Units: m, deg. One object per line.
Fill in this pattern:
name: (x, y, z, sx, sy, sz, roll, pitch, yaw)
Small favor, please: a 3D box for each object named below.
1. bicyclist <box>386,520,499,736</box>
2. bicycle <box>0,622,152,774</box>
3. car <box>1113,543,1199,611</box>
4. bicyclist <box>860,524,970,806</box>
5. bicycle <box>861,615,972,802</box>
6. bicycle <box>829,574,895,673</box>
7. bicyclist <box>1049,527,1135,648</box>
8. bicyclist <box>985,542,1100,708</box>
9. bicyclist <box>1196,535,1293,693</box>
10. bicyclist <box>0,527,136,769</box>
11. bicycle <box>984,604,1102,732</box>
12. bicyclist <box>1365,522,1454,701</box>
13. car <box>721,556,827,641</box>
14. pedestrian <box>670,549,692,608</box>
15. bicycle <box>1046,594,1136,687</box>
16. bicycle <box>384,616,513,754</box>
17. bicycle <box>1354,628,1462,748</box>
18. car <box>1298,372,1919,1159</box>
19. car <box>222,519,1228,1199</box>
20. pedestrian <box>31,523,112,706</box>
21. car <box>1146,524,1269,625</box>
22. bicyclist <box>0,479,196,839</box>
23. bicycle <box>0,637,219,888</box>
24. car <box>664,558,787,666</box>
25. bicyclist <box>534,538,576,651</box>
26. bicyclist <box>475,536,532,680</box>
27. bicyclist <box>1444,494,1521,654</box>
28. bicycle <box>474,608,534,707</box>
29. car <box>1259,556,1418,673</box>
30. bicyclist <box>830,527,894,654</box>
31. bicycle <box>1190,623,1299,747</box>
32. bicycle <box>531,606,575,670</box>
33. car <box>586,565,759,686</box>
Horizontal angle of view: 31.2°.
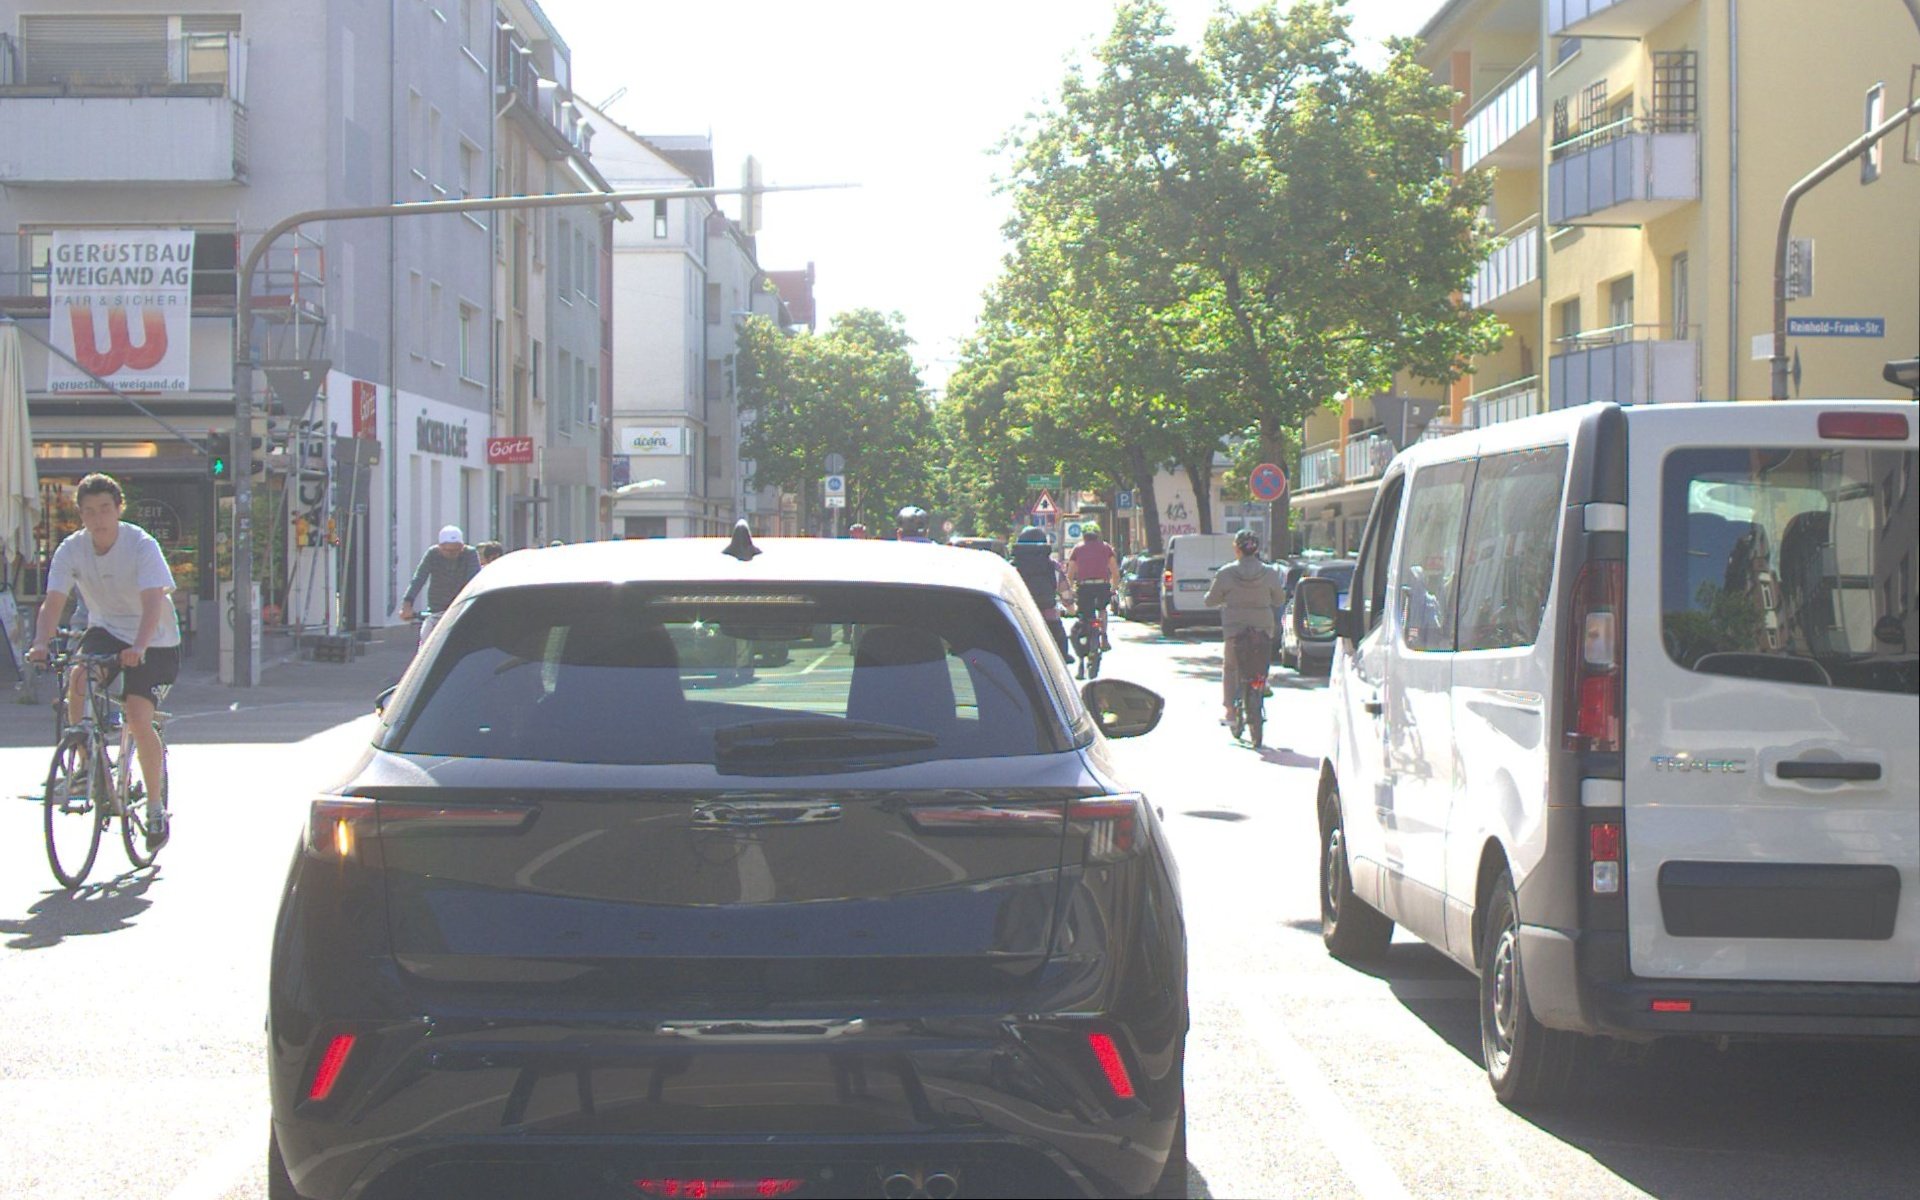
bicyclist: (-3.867, 0.196, 25.748, 0.679, 1.571, 0.899, -1, 1, 0)
bicycle: (-6.131, 0.655, 23.650, 0.679, 0.949, 1.934, -1, 1, 0)
car: (4.358, -0.537, 76.905, 1.712, 1.478, 3.381, 0, 1, 0)
bicyclist: (-0.272, 0.376, 20.828, 0.632, 1.663, 1.050, -1, 1, -1)
bicycle: (-0.264, 0.634, 20.813, 0.632, 1.038, 1.795, -1, 1, -1)
bicycle: (-1.274, 0.295, 45.194, 0.801, 1.251, 2.139, 0, 1, 0)
bicyclist: (1.482, -0.153, 38.745, 0.856, 1.310, 1.210, 2, 1, -1)
bicyclist: (0.675, 0.195, 28.489, 0.856, 1.310, 1.210, 2, 1, -1)
bicyclist: (2.155, 0.098, 26.137, 0.692, 1.189, 0.595, 0, 1, 1)
bicyclist: (-6.148, 0.316, 23.709, 0.679, 1.625, 0.899, -1, 1, 0)
bicycle: (0.669, 0.542, 28.454, 0.856, 0.942, 2.307, 2, 1, -1)
bicyclist: (3.506, 0.083, 26.852, 0.588, 1.378, 0.823, 0, 1, 1)
car: (-3.338, -0.049, 61.903, 1.804, 1.408, 4.426, -2, 1, -3)
pedestrian: (-7.532, -0.575, 92.867, 0.577, 1.577, 0.708, 0, 1, -6)
bicycle: (1.455, 0.442, 38.660, 0.856, 0.942, 2.307, 2, 1, -1)
bicycle: (-3.854, 0.627, 26.011, 0.679, 0.949, 1.934, -1, 1, 0)
bicycle: (3.510, 0.674, 27.036, 0.620, 0.863, 1.876, 0, 1, 1)
car: (2.378, 0.400, 11.080, 1.968, 1.933, 5.056, 1, 1, -1)
car: (-0.438, 0.616, 8.040, 1.762, 1.553, 4.000, 0, 1, -1)
pedestrian: (-7.705, 0.119, 29.816, 0.531, 1.576, 0.563, 0, 1, 4)
car: (4.618, -0.503, 64.708, 2.046, 1.840, 4.584, 0, 1, 1)
bicyclist: (-4.016, 0.262, 15.966, 0.716, 1.614, 0.946, -1, 0, -1)
bicycle: (-4.010, 0.723, 16.018, 0.716, 1.060, 1.872, -1, 0, -1)
car: (-3.538, 0.160, 52.357, 1.592, 1.560, 4.089, -1, 0, 0)
bicyclist: (-5.614, -0.080, 47.672, 0.553, 1.543, 0.815, 1, 1, -6)
bicyclist: (-4.433, 0.070, 33.340, 0.542, 1.386, 0.788, 0, 1, -8)
bicyclist: (4.566, -0.234, 30.074, 0.547, 1.378, 0.823, 0, 1, 1)
bicycle: (-4.409, 0.543, 33.177, 0.542, 0.899, 1.827, 0, 1, -9)
car: (5.004, 0.168, 45.822, 1.712, 1.478, 3.480, 0, 1, 0)
bicyclist: (-1.274, -0.135, 44.932, 0.801, 1.644, 1.125, 0, 1, 0)
bicycle: (2.148, 0.631, 26.138, 0.691, 0.863, 1.876, 0, 1, 1)
bicycle: (-5.611, 0.515, 47.496, 0.553, 0.831, 2.132, 1, 1, -6)
car: (-3.576, 0.285, 43.387, 1.837, 1.429, 4.177, 0, 1, 0)
